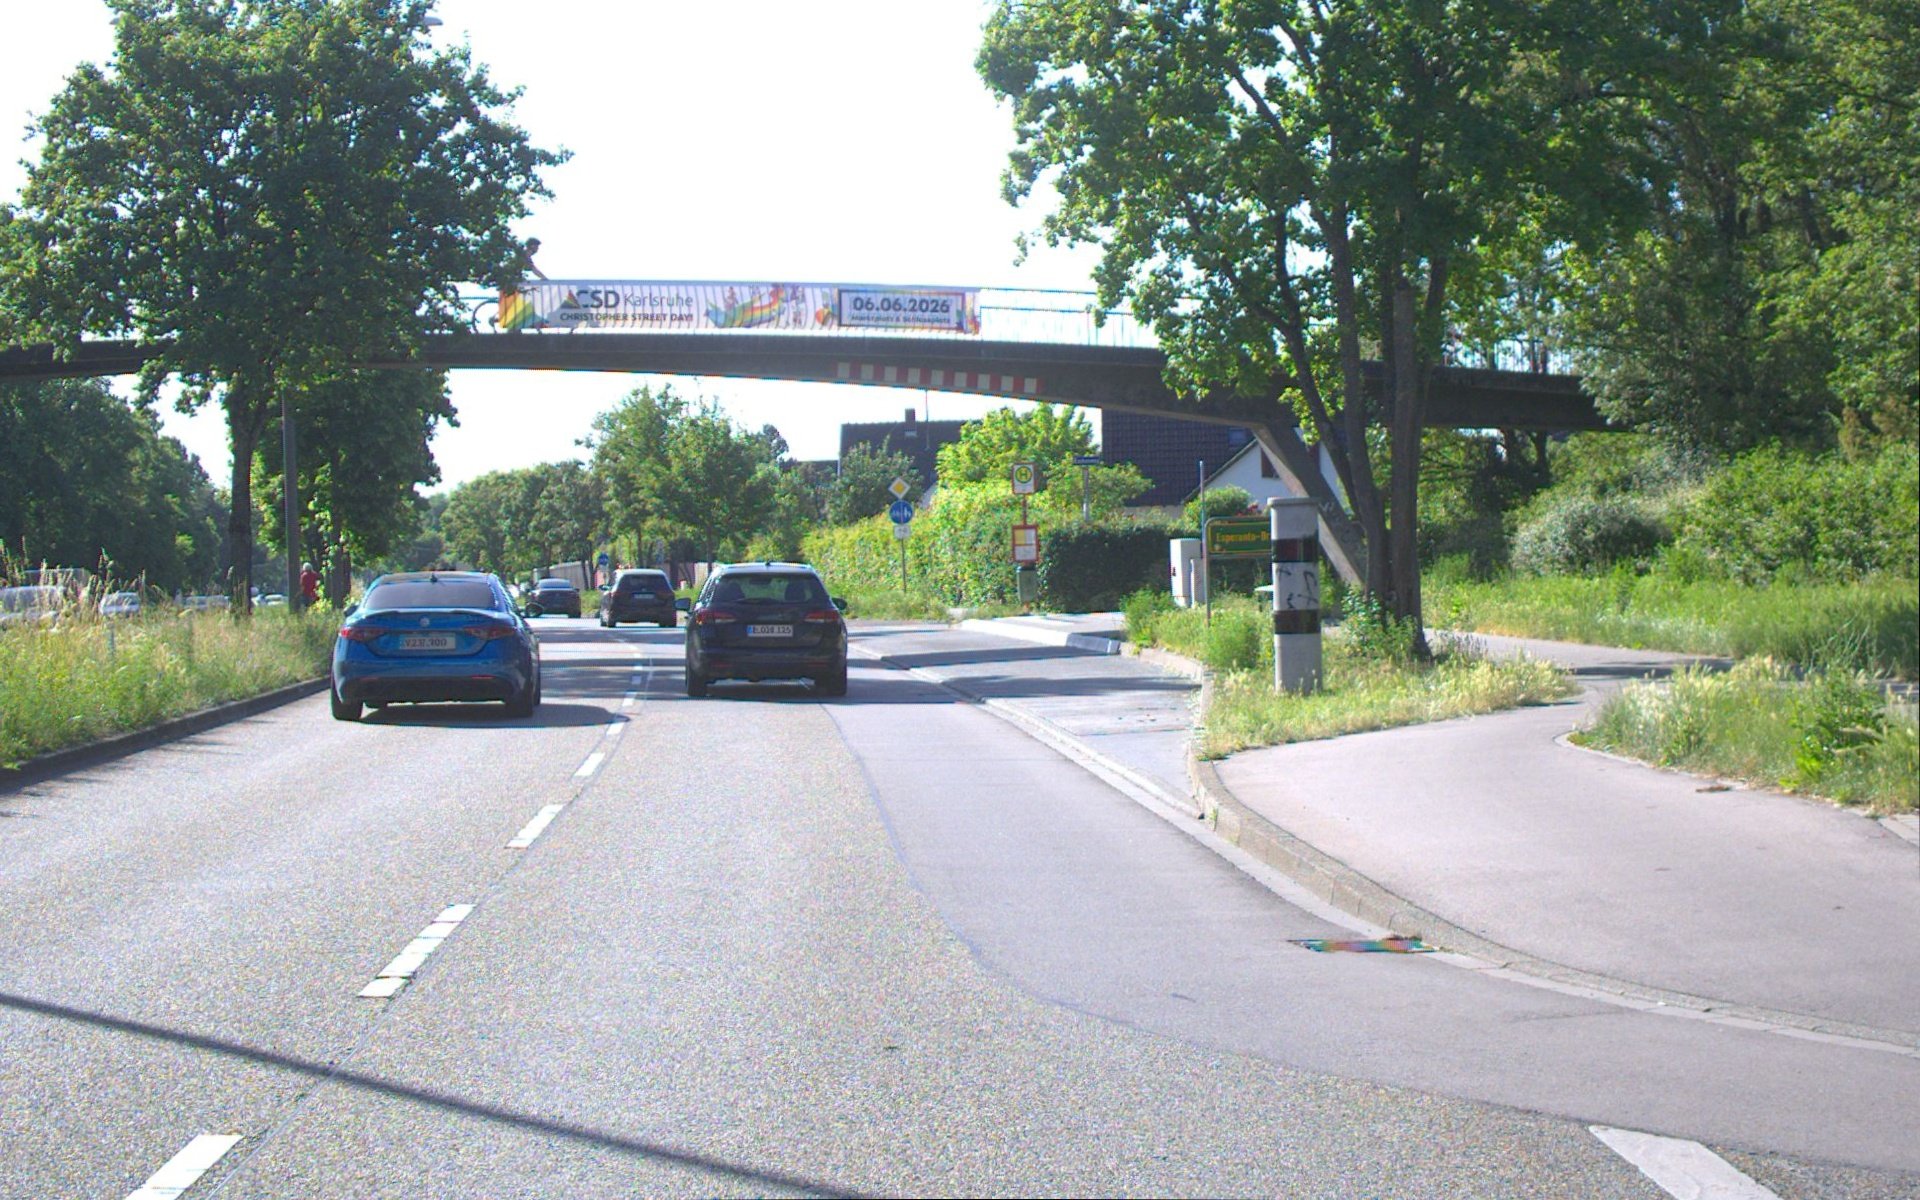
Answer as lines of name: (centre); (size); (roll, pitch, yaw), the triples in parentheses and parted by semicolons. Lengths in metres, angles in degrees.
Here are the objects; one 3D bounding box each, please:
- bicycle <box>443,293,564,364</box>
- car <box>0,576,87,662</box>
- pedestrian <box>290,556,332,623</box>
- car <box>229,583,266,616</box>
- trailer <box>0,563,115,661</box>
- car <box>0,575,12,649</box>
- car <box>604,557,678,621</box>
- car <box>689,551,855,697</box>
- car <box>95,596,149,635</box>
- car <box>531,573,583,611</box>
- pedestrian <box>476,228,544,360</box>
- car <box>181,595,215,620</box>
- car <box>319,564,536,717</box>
bicycle: (-7.645, -4.543, 57.581); (1.988, 1.104, 0.728); (0, 1, -7)
car: (-18.017, 0.393, 66.259); (1.695, 1.577, 4.025); (-2, 0, -6)
pedestrian: (-16.628, -0.271, 88.074); (0.631, 1.691, 0.942); (-1, 0, 20)
car: (-37.066, -0.017, 178.980); (1.730, 1.626, 4.199); (-2, 1, -10)
trailer: (-18.412, 0.209, 70.315); (1.562, 1.903, 4.283); (-1, 1, -5)
car: (-21.774, 0.322, 73.828); (1.856, 1.600, 4.368); (-3, 1, -5)
car: (-8.350, -0.299, 89.736); (1.743, 1.592, 4.176); (-1, 1, -7)
car: (-2.177, 0.270, 38.985); (1.760, 1.554, 4.000); (0, 0, -5)
car: (-32.966, 0.605, 135.295); (1.539, 1.426, 4.257); (-3, 1, -7)
car: (-15.063, -0.312, 128.399); (1.898, 1.351, 4.001); (-1, 1, -7)
pedestrian: (-7.545, -5.116, 57.587); (1.065, 2.116, 0.997); (-1, 1, -7)
car: (-47.550, 0.464, 214.424); (1.805, 1.495, 4.597); (-2, 1, -15)
car: (-5.230, 0.361, 34.049); (1.994, 1.400, 4.001); (0, 1, -8)
